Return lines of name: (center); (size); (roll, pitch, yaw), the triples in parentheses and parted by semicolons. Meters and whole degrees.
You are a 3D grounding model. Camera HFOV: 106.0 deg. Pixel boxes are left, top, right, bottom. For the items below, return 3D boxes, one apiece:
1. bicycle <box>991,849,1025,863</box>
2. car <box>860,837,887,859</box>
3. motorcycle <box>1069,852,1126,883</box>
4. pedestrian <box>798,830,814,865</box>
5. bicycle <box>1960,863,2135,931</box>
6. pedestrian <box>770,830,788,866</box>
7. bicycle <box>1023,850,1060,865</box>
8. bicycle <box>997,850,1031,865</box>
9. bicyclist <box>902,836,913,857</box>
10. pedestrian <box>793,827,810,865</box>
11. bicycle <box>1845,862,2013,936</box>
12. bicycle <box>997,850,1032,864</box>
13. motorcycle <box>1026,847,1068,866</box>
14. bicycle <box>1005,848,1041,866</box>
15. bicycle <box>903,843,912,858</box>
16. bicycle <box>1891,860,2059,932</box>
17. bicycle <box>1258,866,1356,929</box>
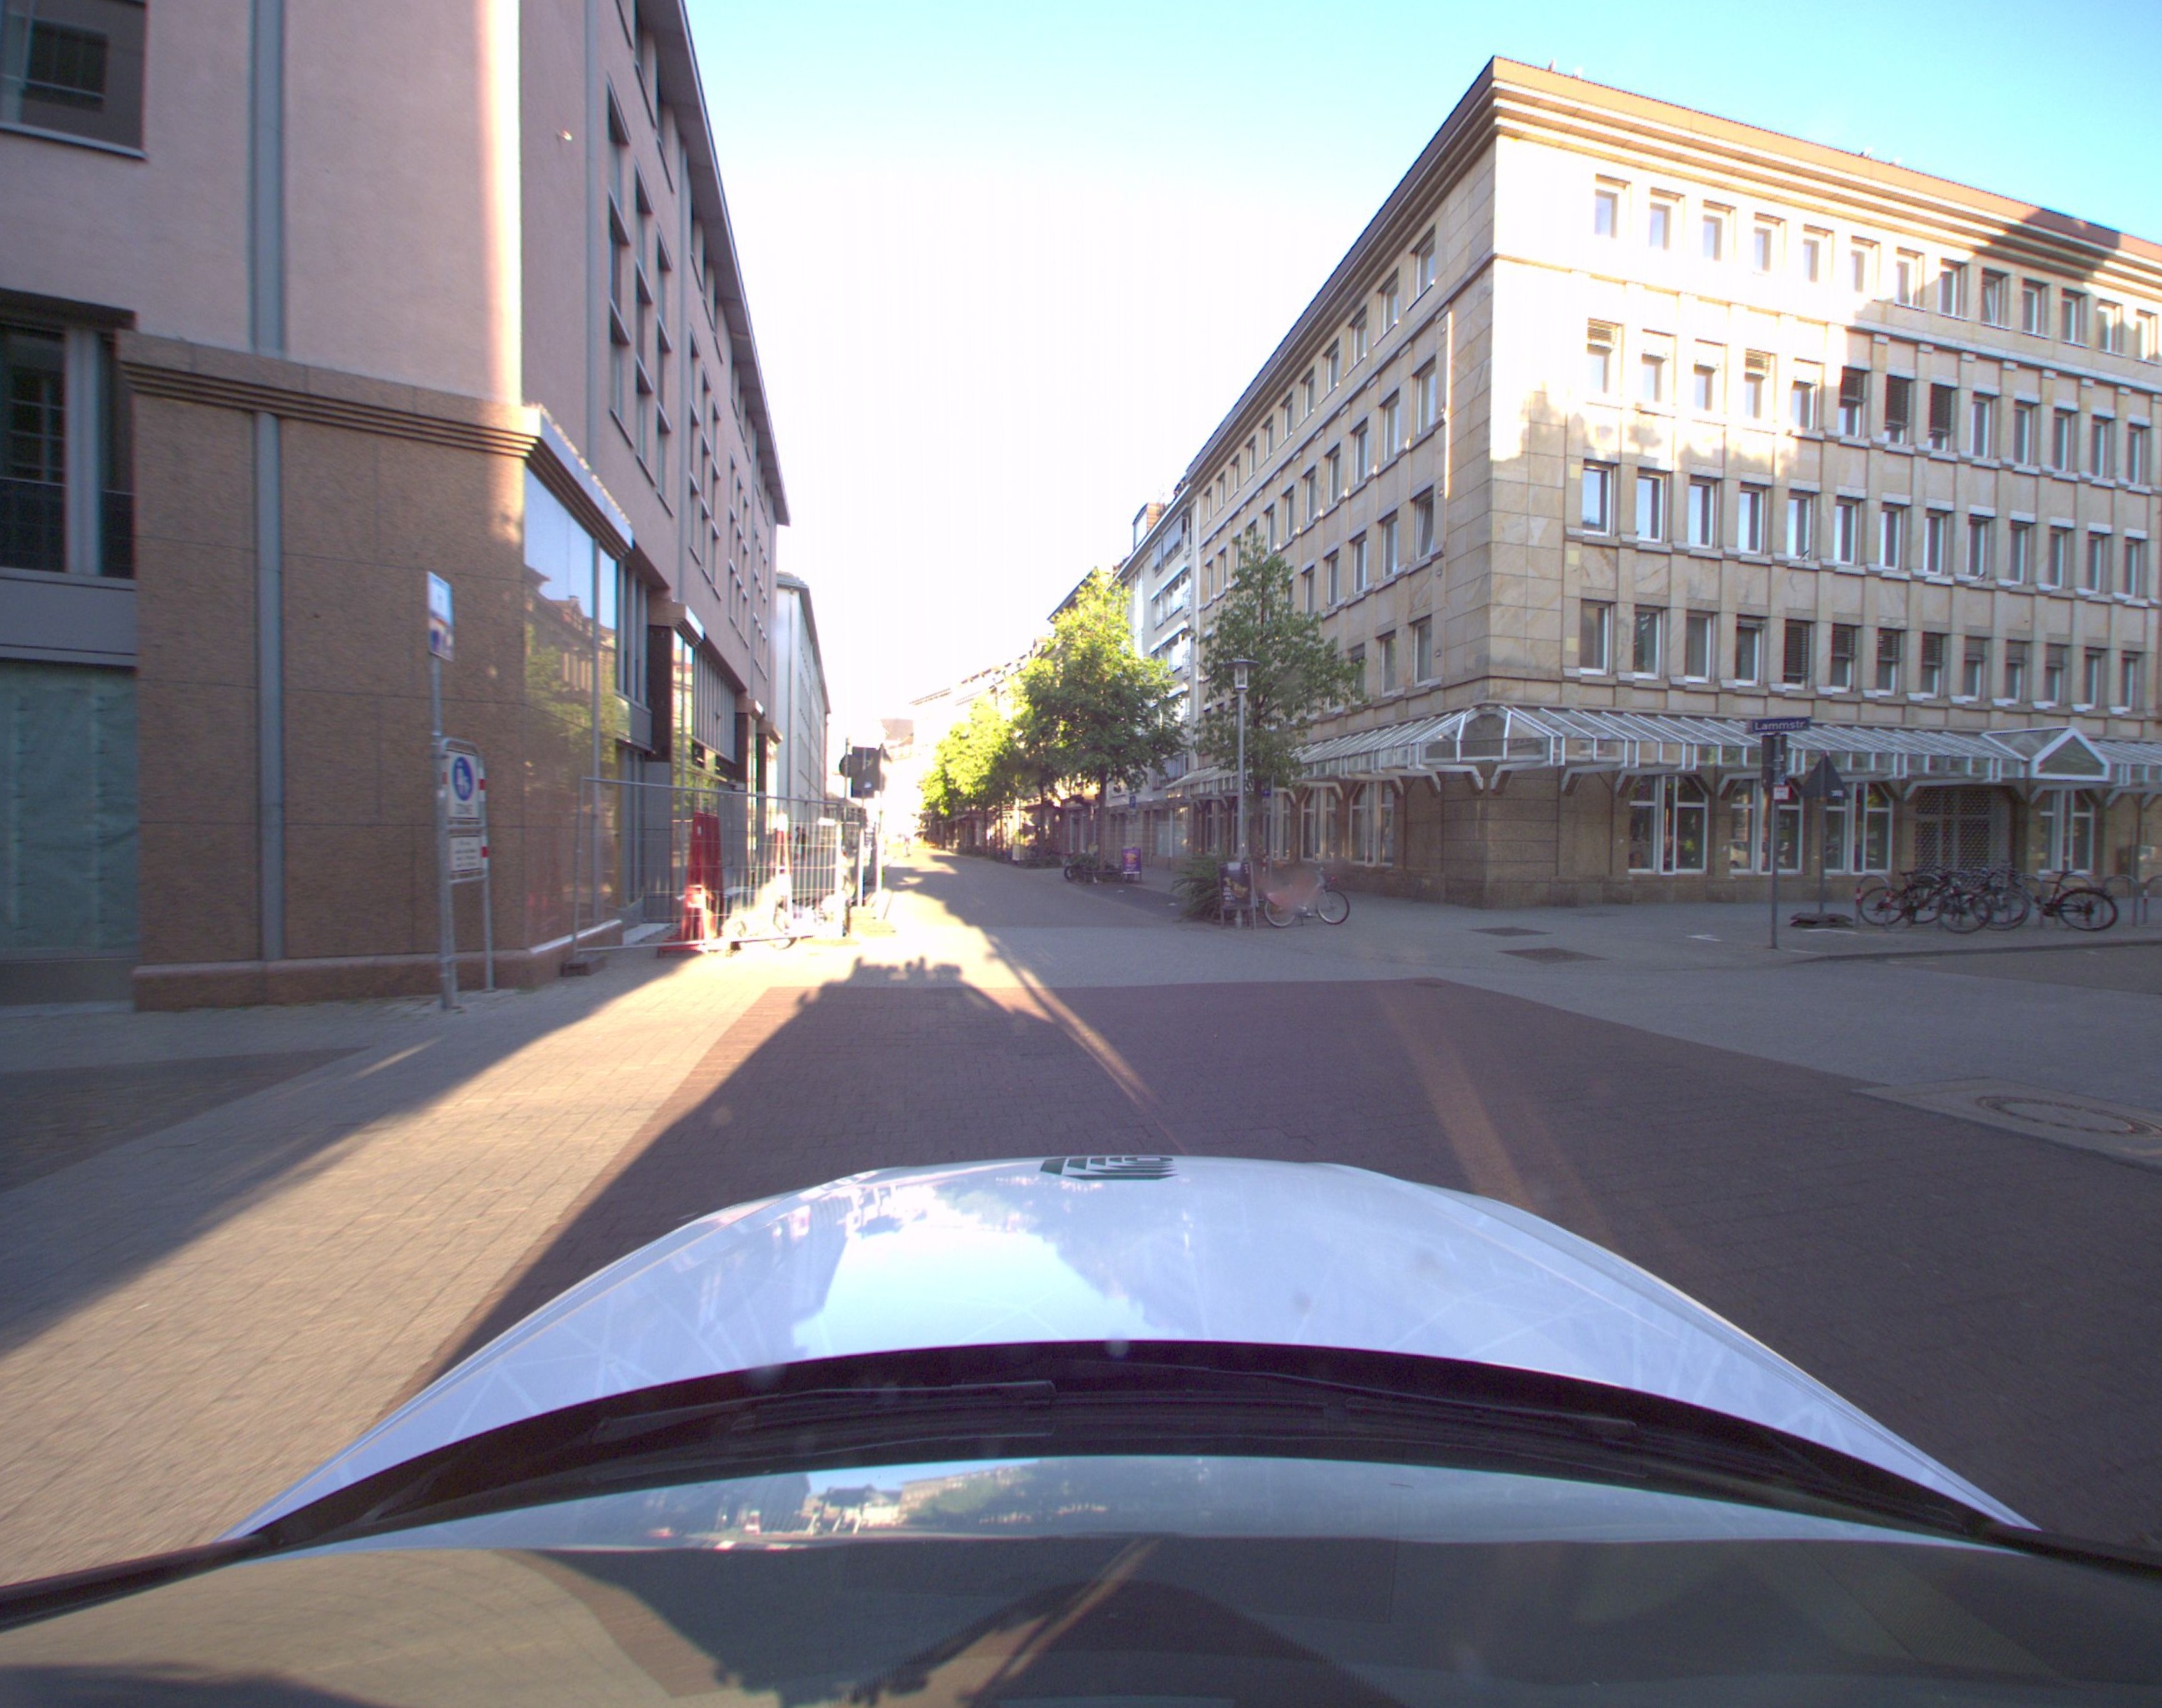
bicycle: (-4.857, 0.110, 54.082); (2.160, 0.926, 0.587); (0, 0, -21)
car: (-16.340, -0.460, 64.163); (1.847, 1.684, 3.623); (0, 1, -18)
motorcycle: (0.626, 0.499, 31.140); (2.157, 1.151, 0.491); (0, 0, -16)
pedestrian: (-13.223, -0.330, 39.178); (0.654, 1.651, 0.632); (0, 1, -8)
bicycle: (16.743, 0.710, 14.189); (0.512, 1.028, 1.940); (0, 2, -14)
pedestrian: (-14.259, -0.286, 38.427); (0.654, 1.725, 0.632); (0, 1, -8)
bicycle: (-2.355, 0.201, 48.376); (2.165, 0.926, 0.585); (0, 0, -29)
bicycle: (-4.347, 0.231, 53.129); (2.160, 0.926, 0.587); (0, 0, -21)
bicyclist: (-12.572, -0.559, 59.013); (0.722, 1.468, 0.714); (0, 1, -15)
pedestrian: (-13.250, -0.373, 38.619); (0.654, 1.763, 0.632); (0, 1, -8)
bicycle: (14.123, 0.703, 13.648); (0.543, 1.050, 1.942); (0, 2, -12)
bicycle: (-4.287, 0.189, 52.234); (2.160, 0.926, 0.587); (0, 0, -21)
motorcycle: (-1.960, 0.155, 47.301); (2.489, 1.095, 0.584); (0, 0, -36)
bicycle: (-3.561, 0.189, 50.069); (2.145, 1.061, 0.591); (0, 0, 1)
bicycle: (-12.595, -0.270, 59.057); (0.589, 1.095, 2.150); (0, 0, -14)
bicycle: (15.300, 0.686, 14.026); (0.542, 1.050, 1.943); (0, 2, -10)
bicycle: (4.191, 0.801, 15.199); (1.648, 1.050, 0.664); (-2, 2, 5)
